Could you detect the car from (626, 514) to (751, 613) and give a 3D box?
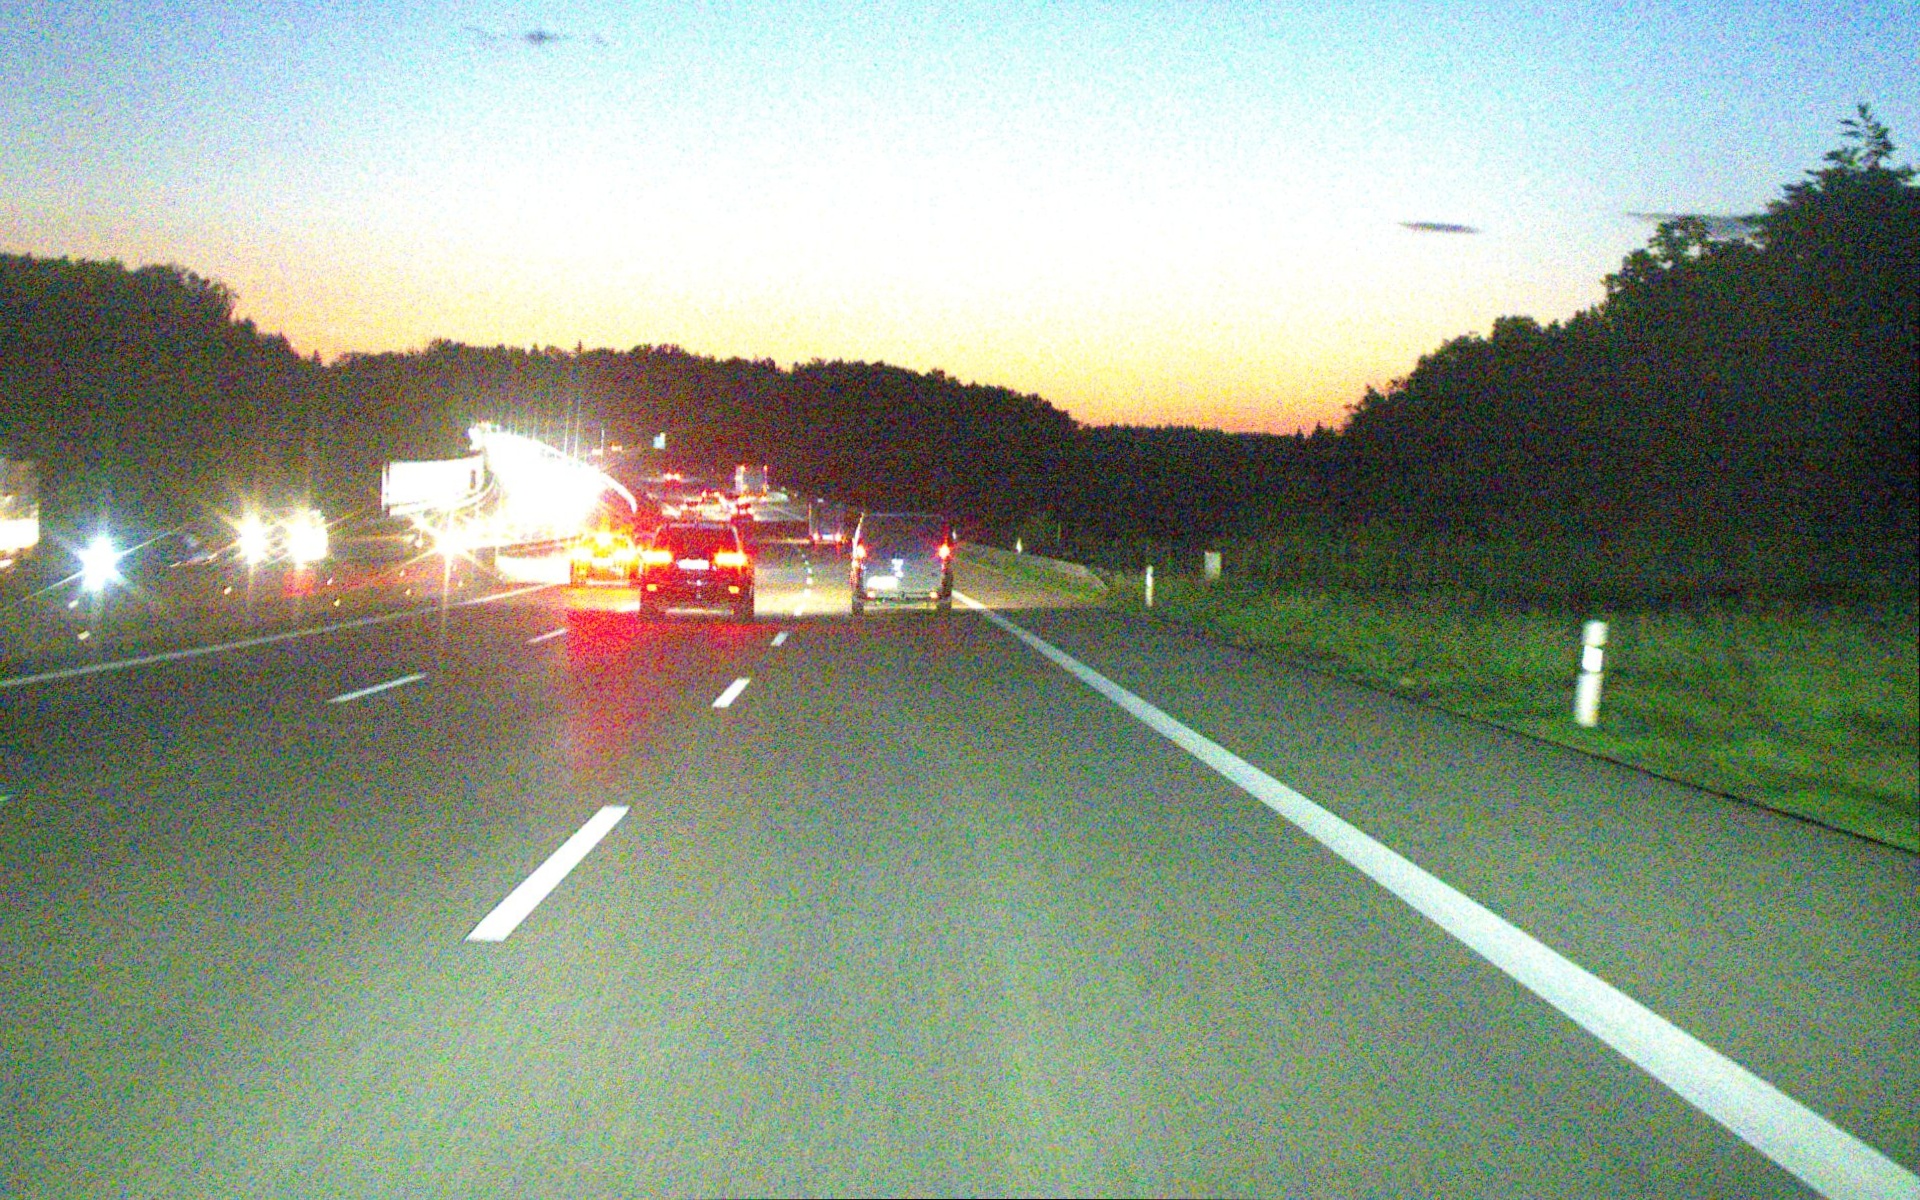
[{"bbox_3d":[-4.850,-0.675,62.125,1.993,1.715,5.943,0,1,-2],"label":"car"}]

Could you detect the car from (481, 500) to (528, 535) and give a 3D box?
[{"bbox_3d":[-25.808,-4.679,194.899,2.104,1.879,4.660,1,1,-1],"label":"car"}]

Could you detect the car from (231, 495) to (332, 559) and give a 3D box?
[{"bbox_3d":[-21.041,-2.266,106.820,2.145,1.879,5.425,1,1,-1],"label":"car"}]

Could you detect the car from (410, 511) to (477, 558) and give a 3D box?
[{"bbox_3d":[-19.893,-2.538,132.565,1.993,1.728,4.660,1,1,-1],"label":"car"}]

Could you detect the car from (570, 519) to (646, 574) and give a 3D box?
[{"bbox_3d":[-9.411,-1.439,92.220,1.549,1.426,5.515,1,1,-1],"label":"car"}]

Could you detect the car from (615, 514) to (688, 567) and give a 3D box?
[{"bbox_3d":[-9.779,-1.909,109.275,1.779,1.481,5.254,4,2,0],"label":"car"}]

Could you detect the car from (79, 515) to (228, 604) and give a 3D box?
[{"bbox_3d":[-16.541,-0.854,70.749,1.993,1.728,4.659,1,1,-1],"label":"car"}]

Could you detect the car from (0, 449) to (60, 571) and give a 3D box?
[{"bbox_3d":[-24.376,-2.225,84.530,2.458,2.926,8.334,1,1,-1],"label":"car"}]

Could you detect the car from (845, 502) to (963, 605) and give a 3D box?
[{"bbox_3d":[-1.157,-0.960,68.707,2.196,1.948,4.764,0,2,-3],"label":"car"}]

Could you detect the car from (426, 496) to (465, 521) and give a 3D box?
[{"bbox_3d":[-31.186,-5.530,208.386,1.774,1.424,4.660,1,1,-1],"label":"car"}]
